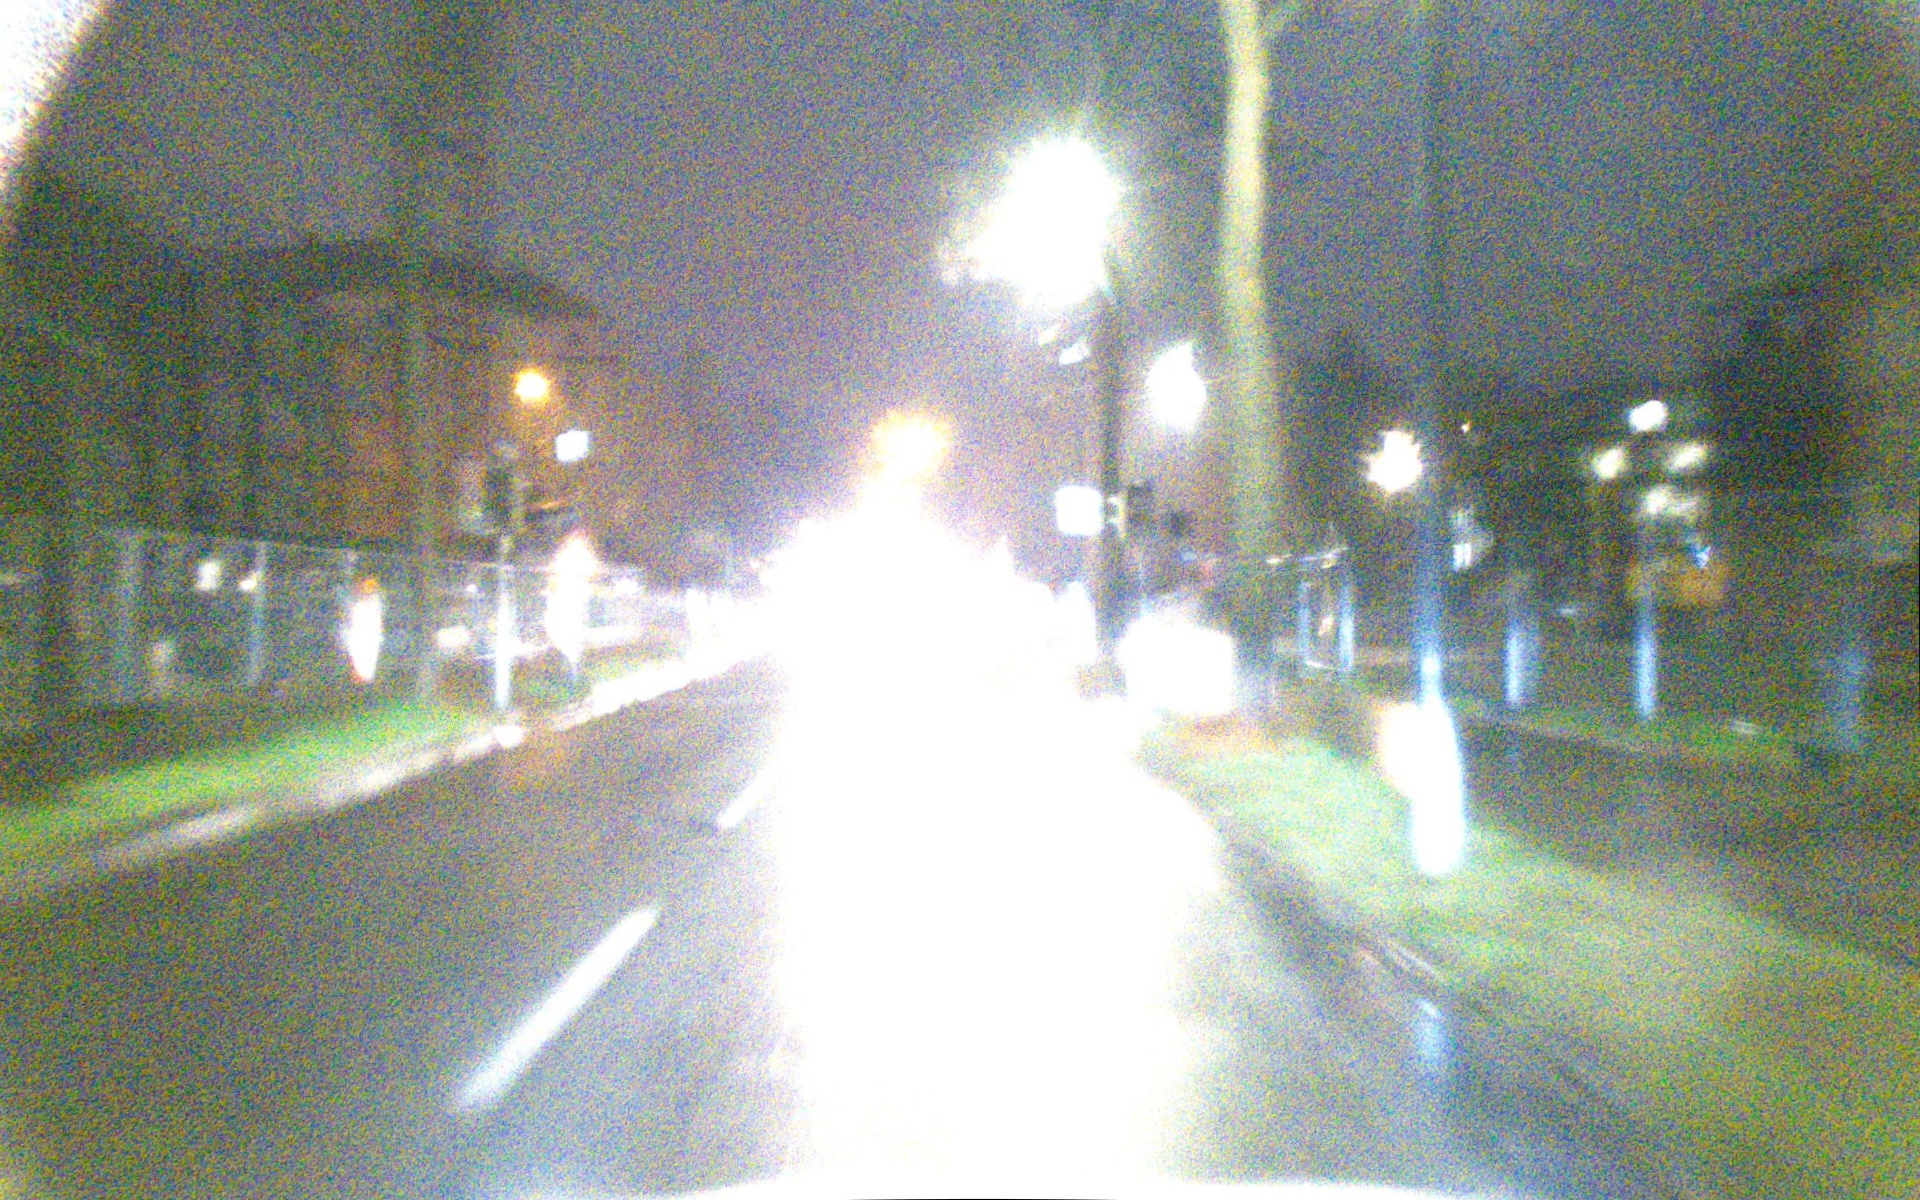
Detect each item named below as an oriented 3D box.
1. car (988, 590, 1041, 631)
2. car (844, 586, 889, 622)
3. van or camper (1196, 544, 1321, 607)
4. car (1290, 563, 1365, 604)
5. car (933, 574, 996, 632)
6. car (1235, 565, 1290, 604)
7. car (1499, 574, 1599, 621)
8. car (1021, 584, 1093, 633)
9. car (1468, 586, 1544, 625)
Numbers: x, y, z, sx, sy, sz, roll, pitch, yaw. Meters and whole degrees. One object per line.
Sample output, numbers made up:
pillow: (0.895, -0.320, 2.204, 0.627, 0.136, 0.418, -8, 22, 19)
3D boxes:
car: (2.153, 0.395, 66.546, 1.679, 1.514, 4.433, -2, 1, -4)
car: (-4.007, 0.165, 71.412, 1.709, 1.458, 4.000, -1, 0, 0)
van or camper: (12.743, -1.064, 70.828, 4.959, 2.571, 2.171, -1, 1, 0)
car: (14.735, -0.697, 66.575, 1.792, 1.574, 4.865, -1, 1, -2)
car: (0.164, 0.071, 53.609, 1.952, 1.713, 4.001, 0, 2, 0)
car: (12.222, -0.642, 66.952, 1.531, 1.495, 3.407, -1, 1, -2)
car: (19.811, -0.107, 55.771, 1.789, 1.493, 4.258, 1, 1, -1)
car: (3.216, 0.245, 55.638, 1.754, 1.474, 4.787, -3, 1, -4)
car: (22.077, 0.203, 67.014, 1.644, 1.438, 4.260, -1, 1, 0)
